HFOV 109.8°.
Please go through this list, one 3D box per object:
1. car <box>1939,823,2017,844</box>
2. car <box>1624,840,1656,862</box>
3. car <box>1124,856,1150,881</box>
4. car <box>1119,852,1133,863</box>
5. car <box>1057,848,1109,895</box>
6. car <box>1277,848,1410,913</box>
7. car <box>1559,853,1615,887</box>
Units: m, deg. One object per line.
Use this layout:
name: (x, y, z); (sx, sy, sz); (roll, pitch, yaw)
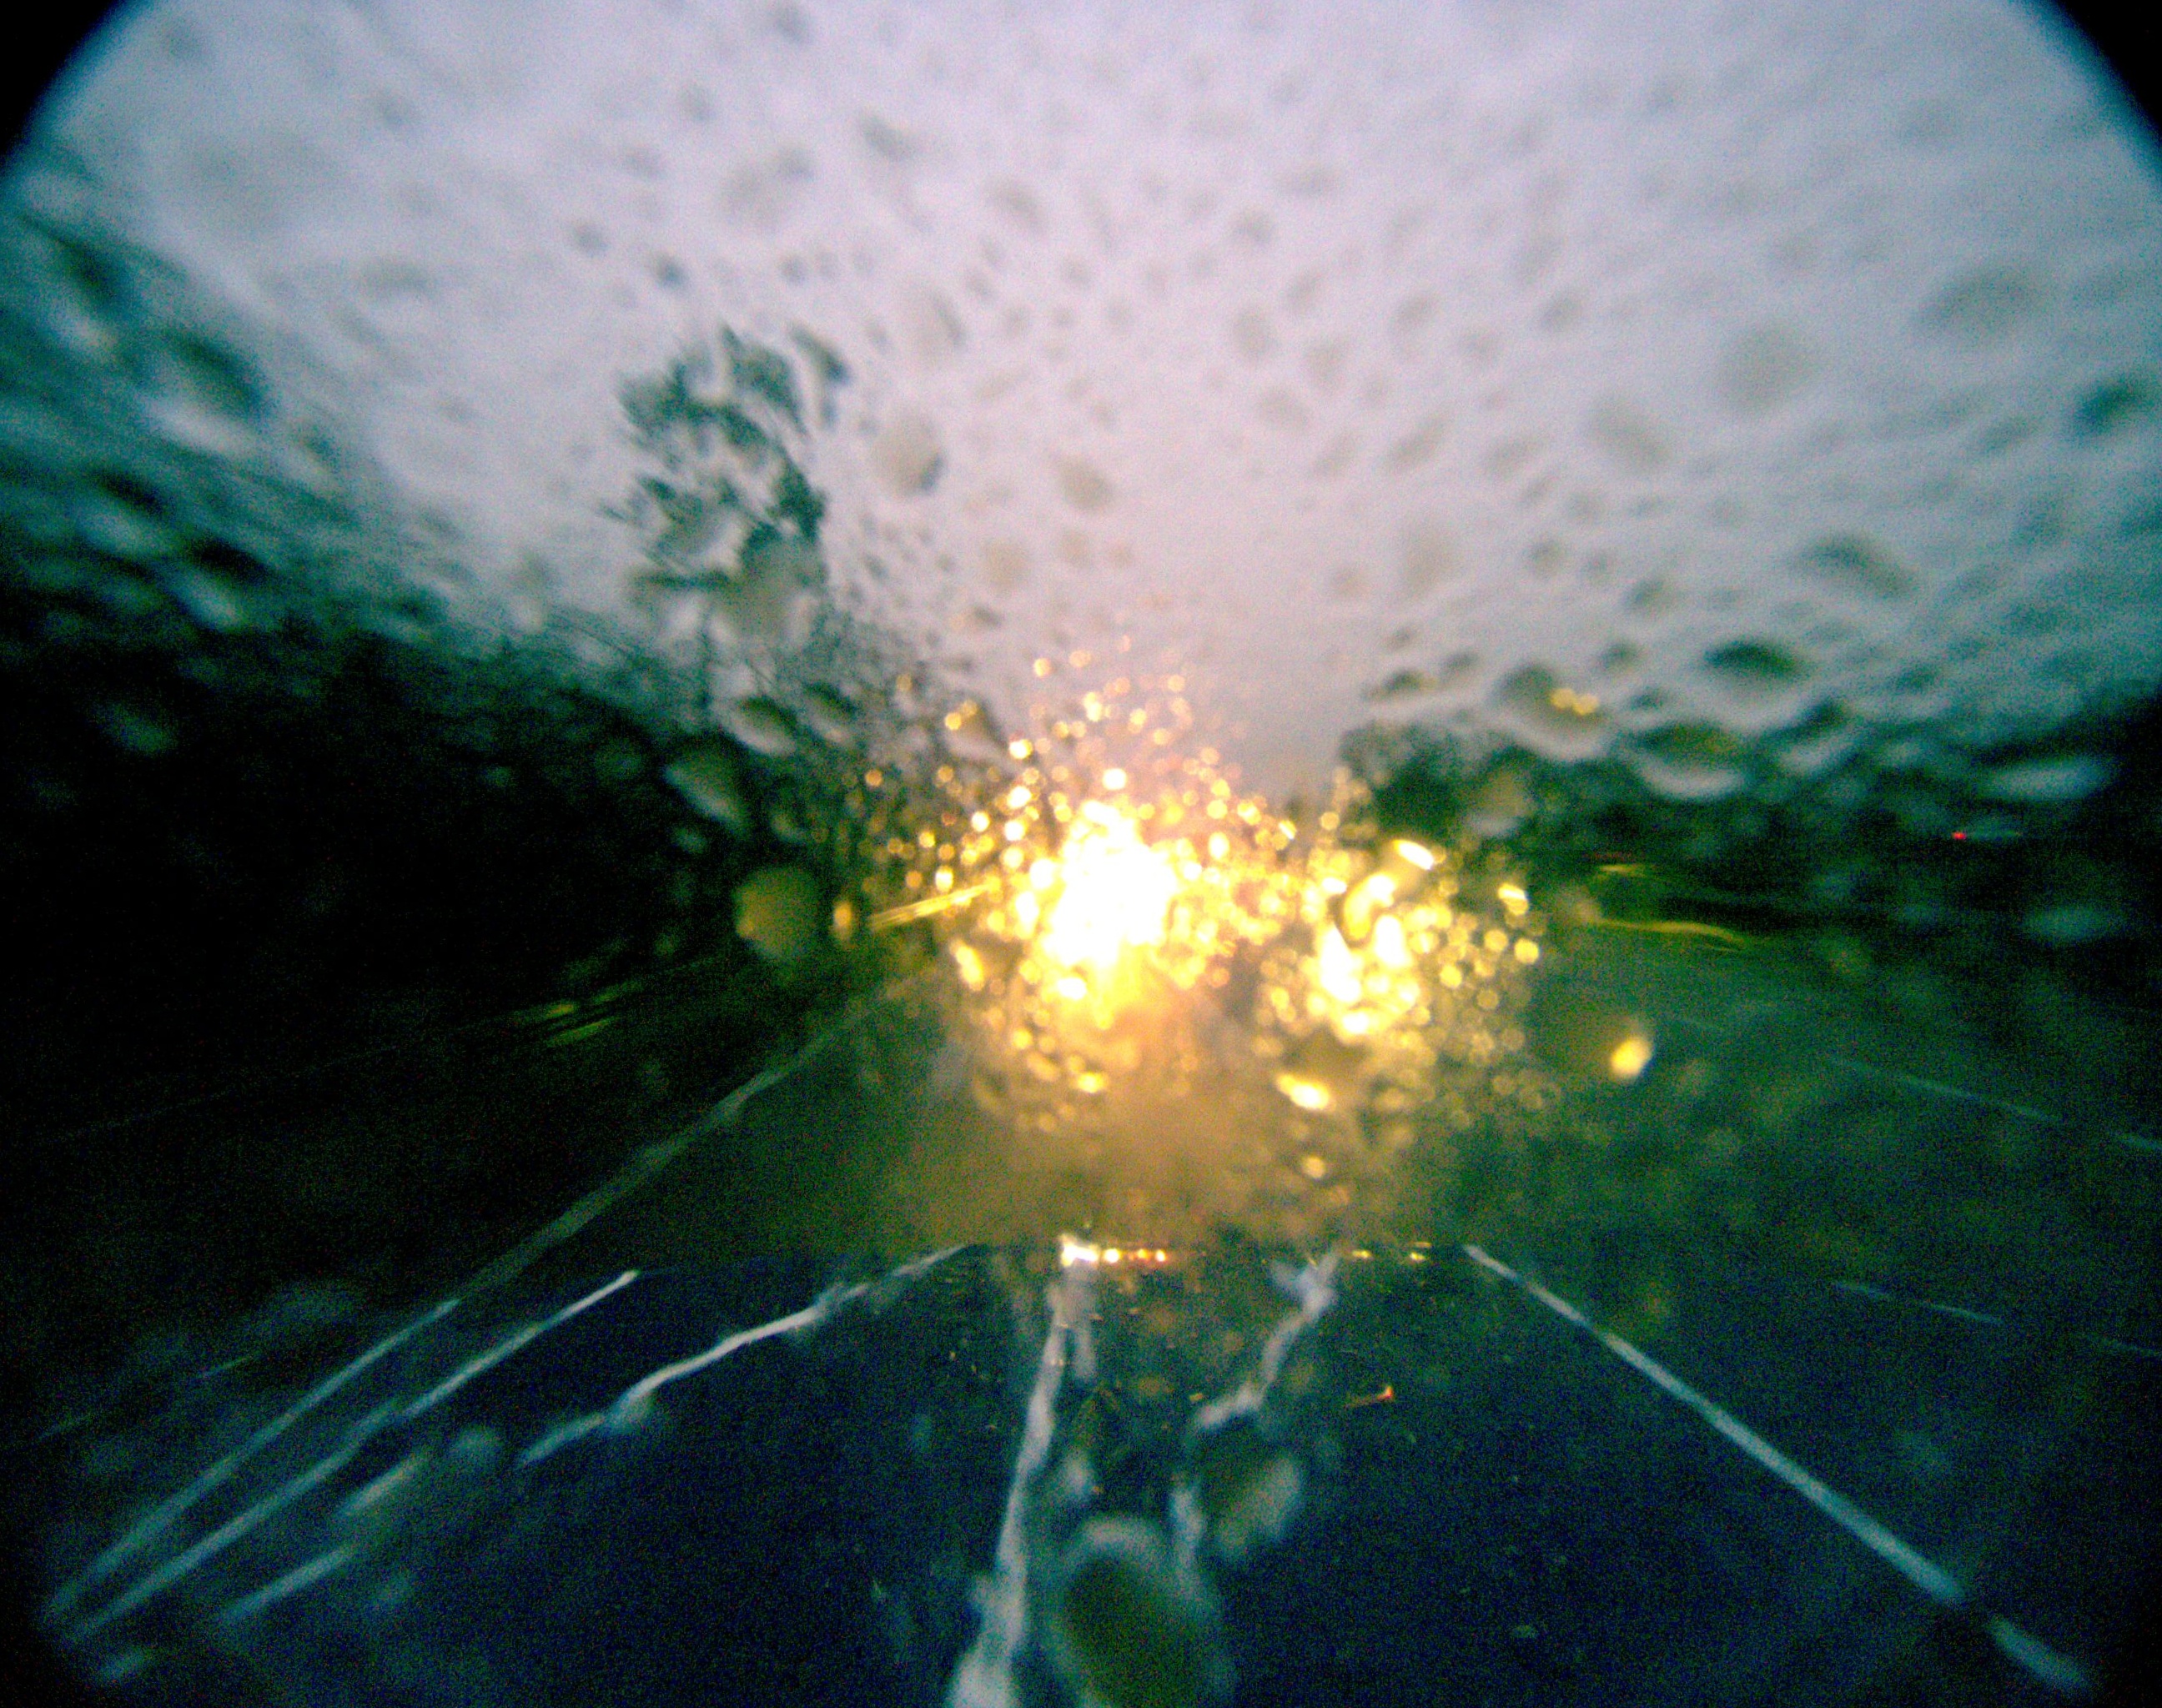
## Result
car: (73.436, -1.698, 62.267); (3.995, 1.478, 1.750); (-3, 1, 7)
car: (42.008, -0.224, 57.046); (1.744, 1.478, 4.007); (-3, 1, 39)
car: (3.987, 1.023, 53.458); (1.653, 1.502, 3.878); (4, -3, 6)
car: (5.499, 0.409, 92.702); (1.482, 1.198, 3.350); (-3, 0, 4)
car: (0.162, 0.754, 34.848); (1.998, 2.002, 3.965); (-1, 0, 6)
car: (6.762, 0.628, 20.148); (1.803, 1.459, 4.412); (-3, 0, -2)
car: (27.204, 0.831, 40.955); (1.745, 1.478, 4.435); (-4, 0, 25)
